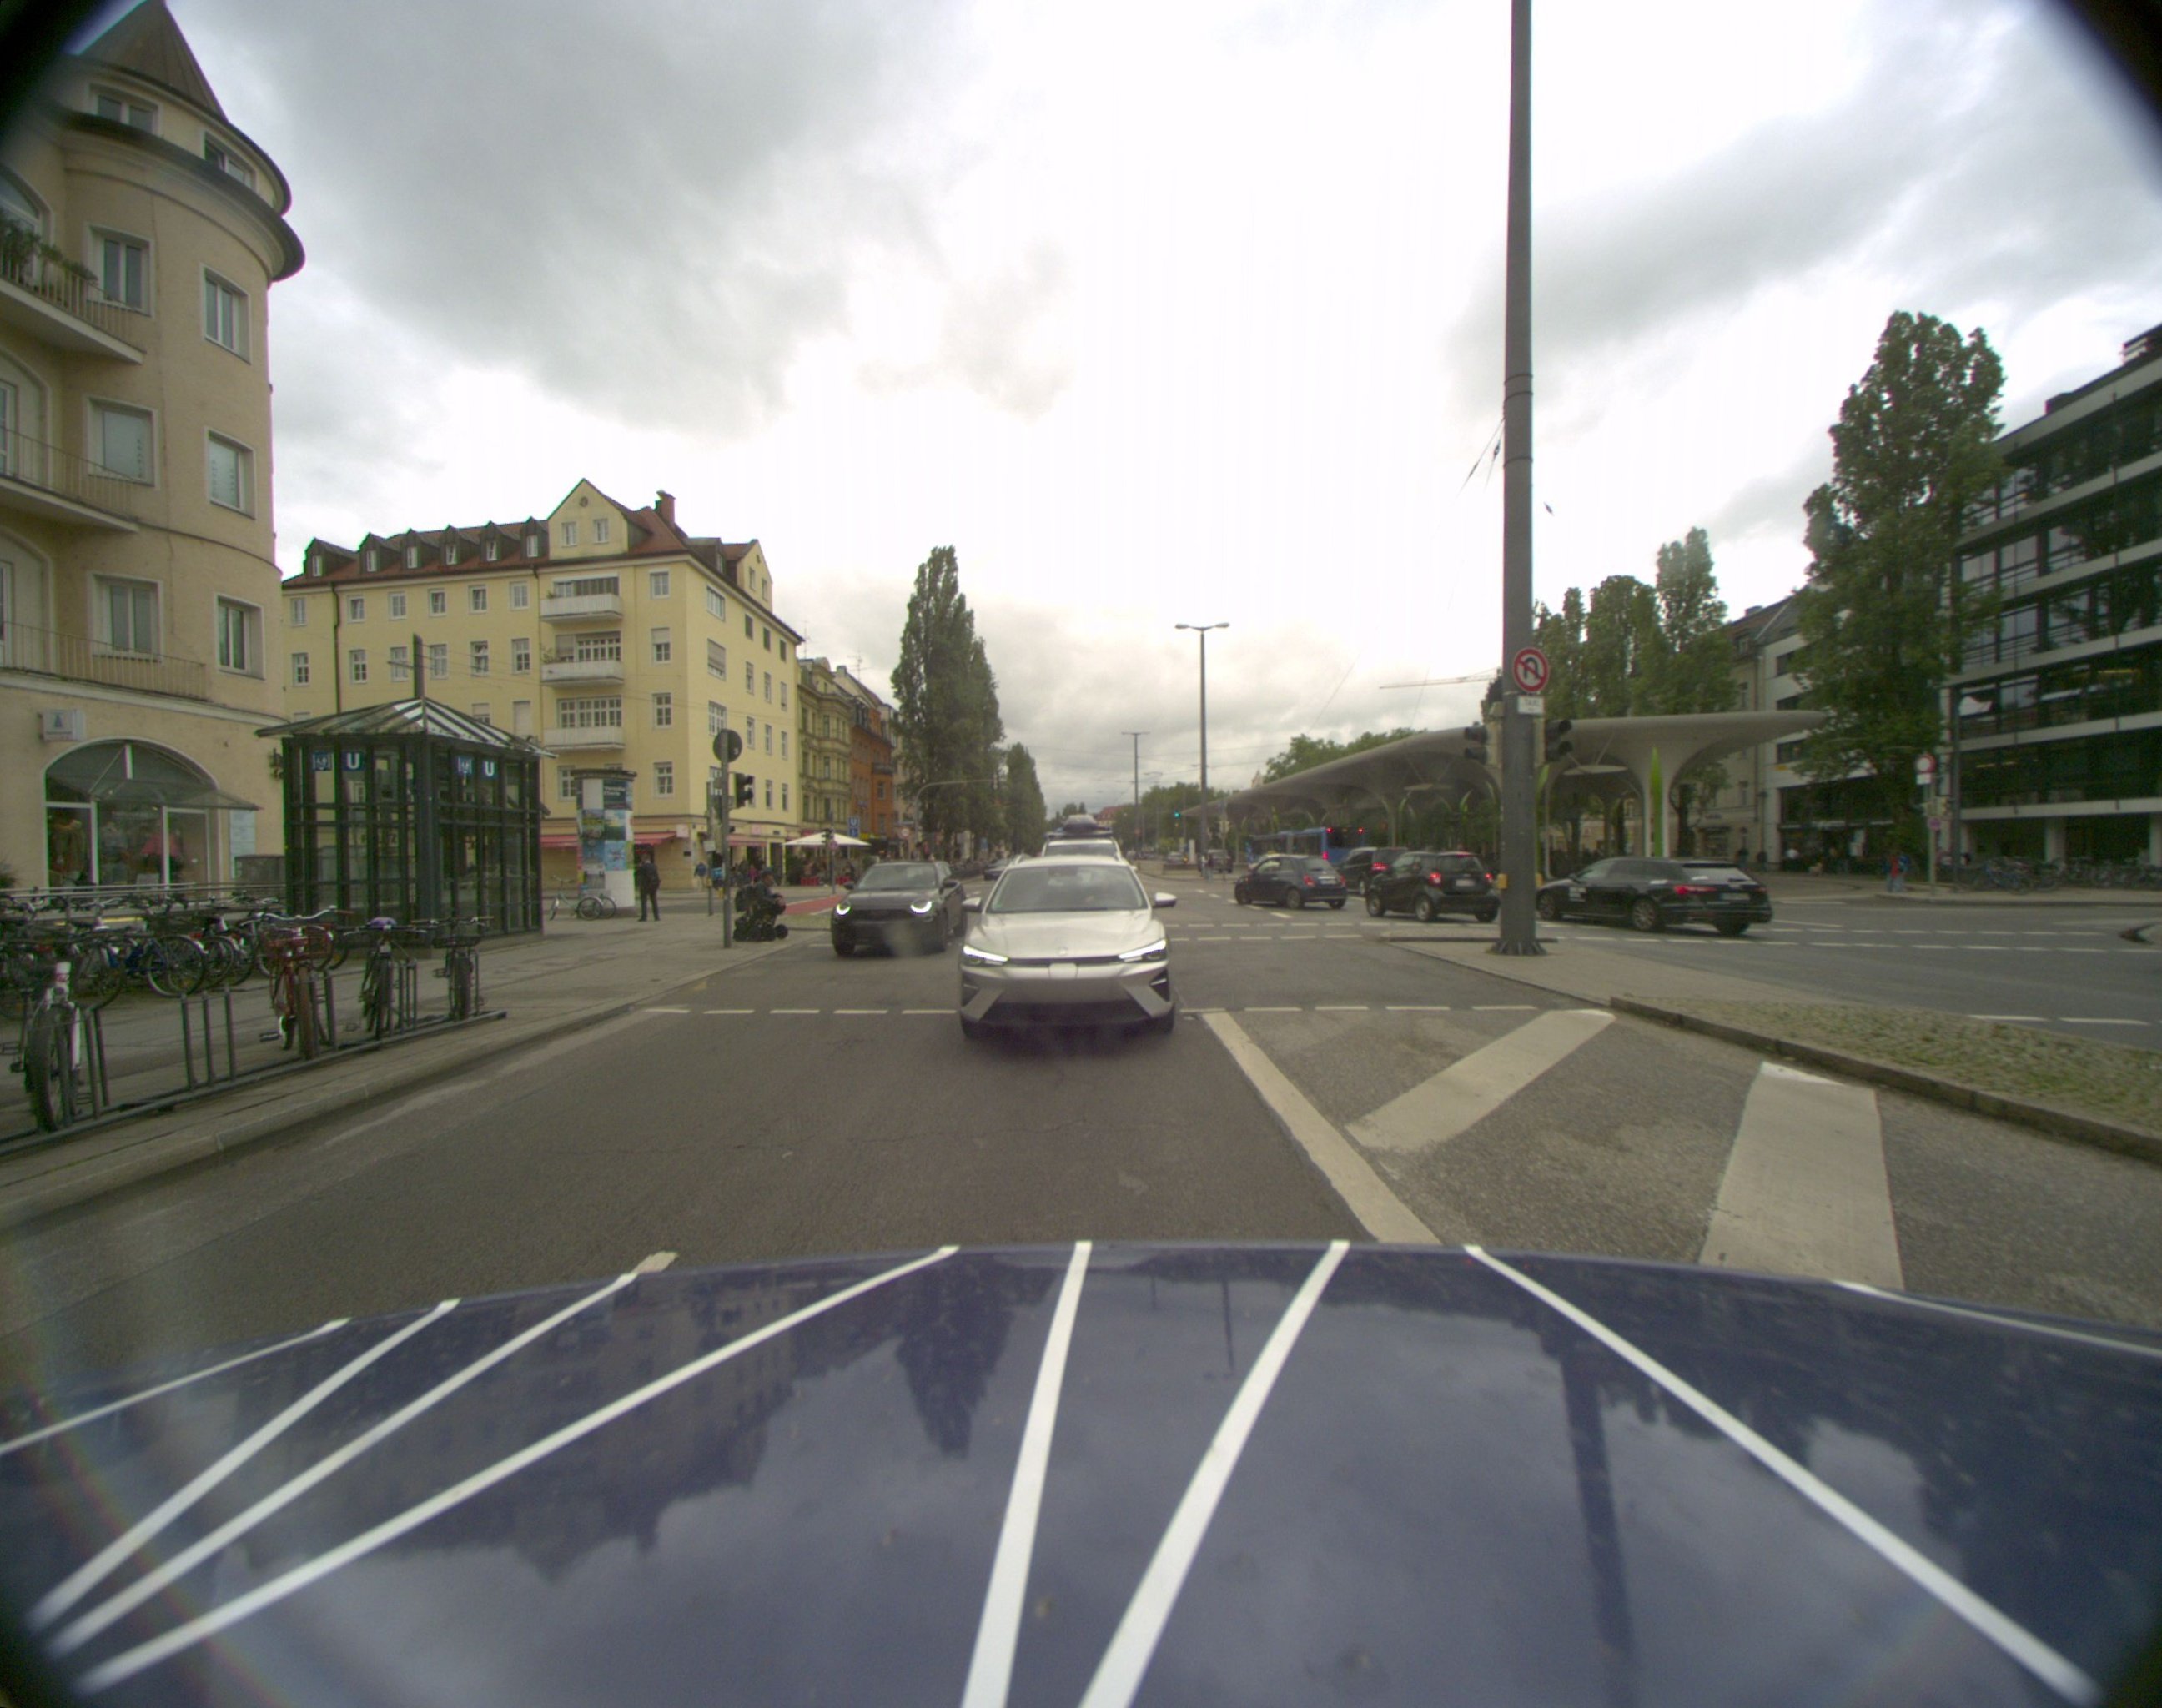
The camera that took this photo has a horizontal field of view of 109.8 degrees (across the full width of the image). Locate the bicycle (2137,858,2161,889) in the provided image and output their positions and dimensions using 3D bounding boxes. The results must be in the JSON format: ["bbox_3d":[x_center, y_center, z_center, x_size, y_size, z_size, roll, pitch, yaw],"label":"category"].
[{"bbox_3d":[40.609,0.714,28.105,2.073,1.127,0.561,-1,1,5],"label":"bicycle"}]

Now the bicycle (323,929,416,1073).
[{"bbox_3d":[-6.137,1.189,6.525,1.848,1.053,0.398,-5,-1,43],"label":"bicycle"}]

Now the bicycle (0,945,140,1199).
[{"bbox_3d":[-6.018,1.165,4.431,1.780,1.131,0.479,-2,1,34],"label":"bicycle"}]

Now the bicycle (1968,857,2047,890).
[{"bbox_3d":[32.216,0.650,26.454,0.473,1.091,1.672,-1,1,-24],"label":"bicycle"}]

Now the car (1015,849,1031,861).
[{"bbox_3d":[-8.633,0.143,113.003,1.998,1.630,4.000,-1,0,0],"label":"car"}]

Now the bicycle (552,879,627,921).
[{"bbox_3d":[-13.364,1.241,20.657,1.822,1.121,0.610,-1,0,12],"label":"bicycle"}]

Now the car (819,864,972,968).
[{"bbox_3d":[-3.096,0.963,13.536,1.740,1.461,4.050,-2,0,-1],"label":"car"}]

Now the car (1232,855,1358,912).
[{"bbox_3d":[5.957,0.761,21.502,1.630,1.471,3.381,0,0,-25],"label":"car"}]

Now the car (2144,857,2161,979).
[{"bbox_3d":[14.174,0.790,8.156,1.674,1.506,2.747,-1,0,1],"label":"car"}]

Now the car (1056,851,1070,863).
[{"bbox_3d":[-2.642,0.445,111.269,1.999,1.630,3.999,-1,0,-2],"label":"car"}]

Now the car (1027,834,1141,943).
[{"bbox_3d":[0.065,0.591,15.838,1.998,1.889,4.235,-2,1,0],"label":"car"}]

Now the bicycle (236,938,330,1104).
[{"bbox_3d":[-6.148,1.200,5.842,1.848,1.053,0.398,-5,-1,43],"label":"bicycle"}]

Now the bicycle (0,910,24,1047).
[{"bbox_3d":[-10.873,1.131,6.689,2.330,1.220,0.628,-1,1,2],"label":"bicycle"}]

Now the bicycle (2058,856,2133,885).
[{"bbox_3d":[40.812,0.668,30.574,2.073,1.127,0.561,-1,1,5],"label":"bicycle"}]

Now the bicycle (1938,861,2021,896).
[{"bbox_3d":[29.429,0.784,24.918,0.473,1.091,1.672,-1,1,-24],"label":"bicycle"}]

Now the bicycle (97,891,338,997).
[{"bbox_3d":[-10.659,1.099,9.421,2.317,1.220,0.628,-1,1,2],"label":"bicycle"}]

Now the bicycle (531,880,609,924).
[{"bbox_3d":[-13.454,1.255,20.009,1.822,1.121,0.610,-1,0,12],"label":"bicycle"}]

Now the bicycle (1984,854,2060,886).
[{"bbox_3d":[34.044,0.562,27.511,0.473,1.091,1.672,-1,1,-24],"label":"bicycle"}]

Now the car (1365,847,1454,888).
[{"bbox_3d":[13.373,0.504,31.229,1.932,1.576,4.000,-1,0,0],"label":"car"}]

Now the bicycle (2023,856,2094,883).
[{"bbox_3d":[40.891,0.646,31.805,2.073,1.127,0.561,-1,1,5],"label":"bicycle"}]

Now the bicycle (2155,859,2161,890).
[{"bbox_3d":[40.441,0.730,27.514,2.073,1.127,0.561,-1,1,5],"label":"bicycle"}]

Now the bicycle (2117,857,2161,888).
[{"bbox_3d":[40.682,0.702,28.718,2.073,1.127,0.561,-1,1,5],"label":"bicycle"}]

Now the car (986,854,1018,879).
[{"bbox_3d":[-5.626,0.860,54.582,1.854,1.615,3.999,-2,1,0],"label":"car"}]

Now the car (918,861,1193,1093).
[{"bbox_3d":[-0.153,0.894,7.395,1.896,1.483,3.999,-2,1,1],"label":"car"}]

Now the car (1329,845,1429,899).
[{"bbox_3d":[10.720,0.579,27.714,1.998,1.762,4.306,1,1,1],"label":"car"}]

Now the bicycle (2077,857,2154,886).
[{"bbox_3d":[40.776,0.679,29.969,2.073,1.127,0.561,-1,1,5],"label":"bicycle"}]

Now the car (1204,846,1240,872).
[{"bbox_3d":[10.006,0.310,54.165,1.847,1.674,3.999,-2,1,1],"label":"car"}]

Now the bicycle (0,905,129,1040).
[{"bbox_3d":[-10.850,1.137,7.445,2.317,1.220,0.628,-1,1,2],"label":"bicycle"}]

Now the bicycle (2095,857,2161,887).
[{"bbox_3d":[40.734,0.690,29.386,2.073,1.127,0.561,-1,1,5],"label":"bicycle"}]

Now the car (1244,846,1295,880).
[{"bbox_3d":[10.166,0.452,41.152,1.760,1.674,3.999,-2,1,1],"label":"car"}]

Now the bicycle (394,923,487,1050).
[{"bbox_3d":[-6.197,1.217,7.315,1.848,1.053,0.398,-5,-1,43],"label":"bicycle"}]

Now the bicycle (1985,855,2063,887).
[{"bbox_3d":[33.509,0.590,27.036,0.473,1.091,1.672,-1,1,-24],"label":"bicycle"}]

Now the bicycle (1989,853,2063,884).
[{"bbox_3d":[34.836,0.523,28.040,0.474,1.091,1.671,-1,1,-34],"label":"bicycle"}]

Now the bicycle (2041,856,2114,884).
[{"bbox_3d":[40.870,0.657,31.186,2.073,1.127,0.561,-1,1,5],"label":"bicycle"}]

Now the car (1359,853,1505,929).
[{"bbox_3d":[7.704,0.749,16.910,1.562,1.498,2.785,-1,1,-13],"label":"car"}]

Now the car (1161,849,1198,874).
[{"bbox_3d":[6.467,0.445,50.101,1.922,1.461,3.999,-2,1,1],"label":"car"}]

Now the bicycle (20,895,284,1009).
[{"bbox_3d":[-10.661,1.109,8.758,2.317,1.220,0.628,-1,1,2],"label":"bicycle"}]

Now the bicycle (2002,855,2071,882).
[{"bbox_3d":[40.903,0.634,32.543,2.073,1.127,0.561,-1,1,5],"label":"bicycle"}]

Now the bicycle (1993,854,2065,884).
[{"bbox_3d":[35.884,0.563,28.772,0.474,1.091,1.671,-1,1,-34],"label":"bicycle"}]

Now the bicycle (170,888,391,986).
[{"bbox_3d":[-10.640,1.087,10.139,2.317,1.220,0.628,-1,1,2],"label":"bicycle"}]

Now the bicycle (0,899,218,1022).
[{"bbox_3d":[-10.716,1.121,8.124,2.317,1.220,0.628,-1,1,2],"label":"bicycle"}]

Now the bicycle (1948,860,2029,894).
[{"bbox_3d":[30.156,0.750,25.273,0.473,1.091,1.672,-1,1,-24],"label":"bicycle"}]

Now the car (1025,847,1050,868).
[{"bbox_3d":[-3.931,0.273,69.120,1.998,1.740,3.999,-2,1,0],"label":"car"}]
